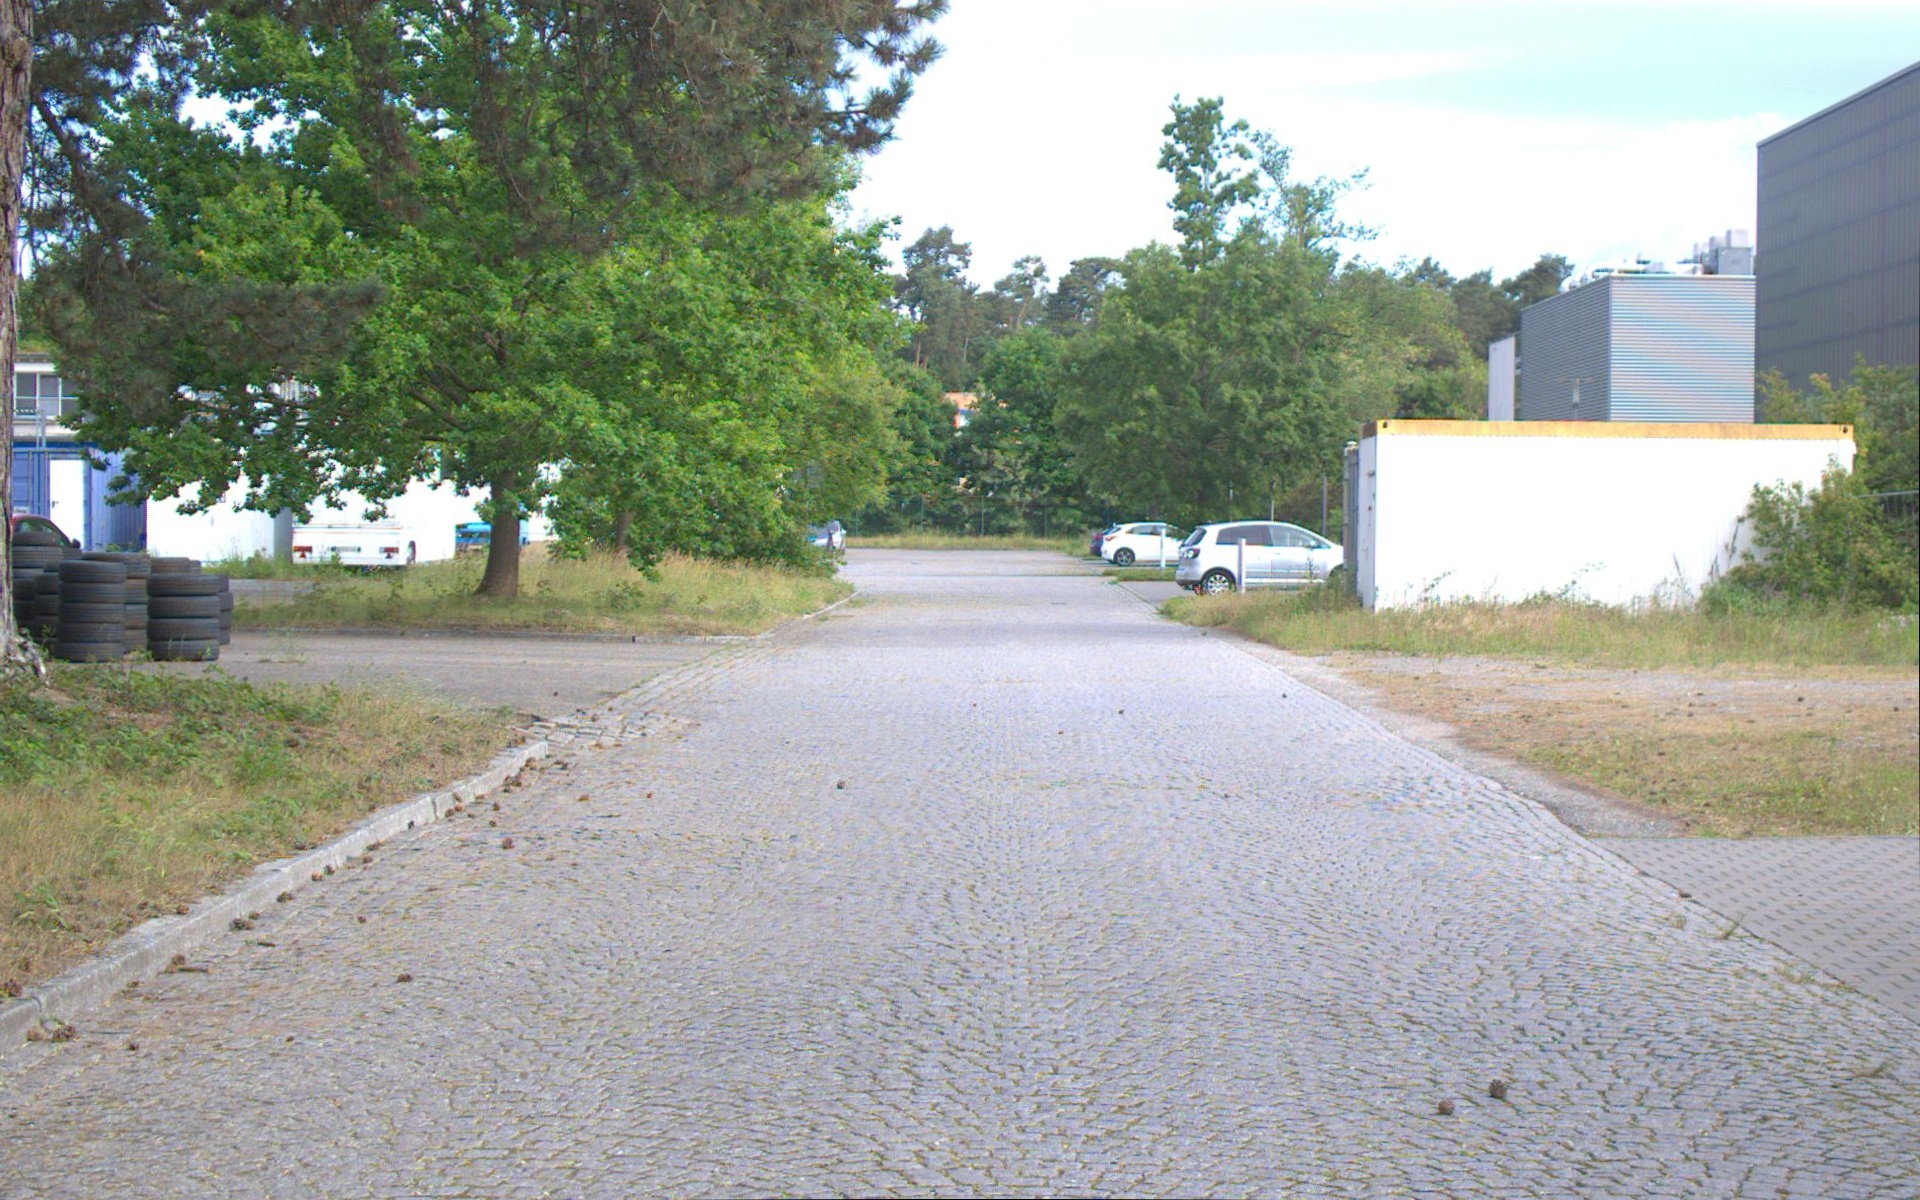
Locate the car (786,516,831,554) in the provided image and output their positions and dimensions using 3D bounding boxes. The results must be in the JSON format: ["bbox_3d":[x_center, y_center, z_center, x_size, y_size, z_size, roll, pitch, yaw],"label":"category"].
[{"bbox_3d":[-5.934,-2.562,134.913,1.735,1.464,4.046,1,1,-2],"label":"car"}]

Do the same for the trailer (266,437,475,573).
[{"bbox_3d":[-14.011,-2.264,82.473,3.159,3.057,8.784,1,1,2],"label":"trailer"}]

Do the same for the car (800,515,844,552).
[{"bbox_3d":[-5.769,-2.792,144.267,1.803,1.529,4.001,1,1,-2],"label":"car"}]

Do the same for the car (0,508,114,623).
[{"bbox_3d":[-12.555,-0.481,45.025,1.767,1.448,3.487,1,1,6],"label":"car"}]

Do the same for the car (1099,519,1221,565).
[{"bbox_3d":[6.711,-1.968,115.691,4.025,1.496,1.548,1,1,2],"label":"car"}]

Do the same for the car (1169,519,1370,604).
[{"bbox_3d":[6.247,-0.796,69.552,3.849,1.649,1.686,1,1,-2],"label":"car"}]

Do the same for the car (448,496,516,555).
[{"bbox_3d":[-17.092,-2.682,123.042,1.925,2.040,4.601,1,1,-2],"label":"car"}]
